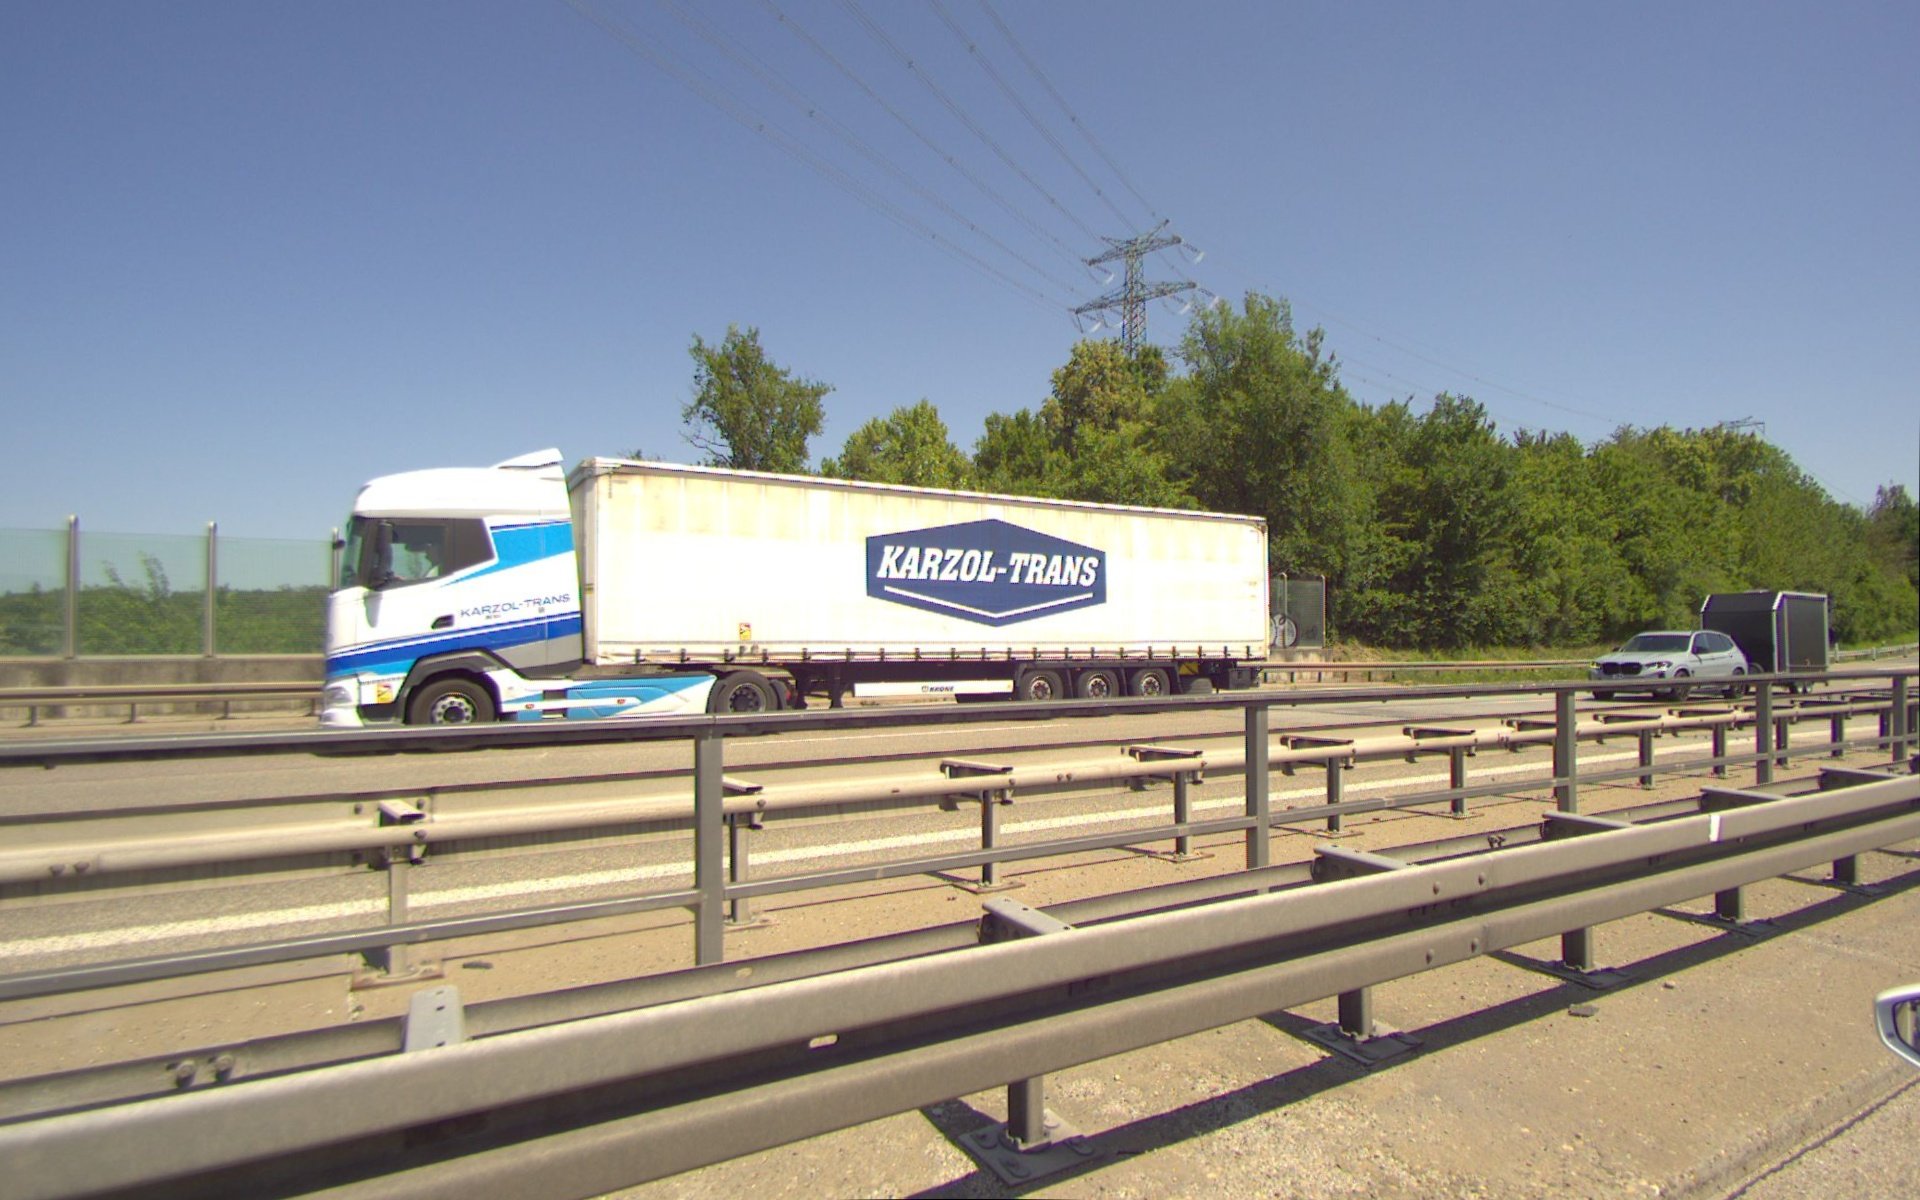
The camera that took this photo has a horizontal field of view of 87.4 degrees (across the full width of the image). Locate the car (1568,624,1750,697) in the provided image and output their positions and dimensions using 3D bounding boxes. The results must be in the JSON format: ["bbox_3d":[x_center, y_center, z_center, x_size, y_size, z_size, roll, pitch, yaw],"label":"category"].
[{"bbox_3d":[17.053,1.475,24.461,4.575,1.646,1.862,2,-4,-30],"label":"car"}]

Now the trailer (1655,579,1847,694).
[{"bbox_3d":[21.250,1.045,26.944,5.314,2.813,2.156,2,-4,-30],"label":"trailer"}]

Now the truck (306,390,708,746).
[{"bbox_3d":[-6.751,-0.273,15.065,4.803,4.284,3.986,2,-2,-31],"label":"truck"}]

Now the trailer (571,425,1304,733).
[{"bbox_3d":[0.241,-0.016,19.228,13.876,4.290,3.970,2,-3,-31],"label":"trailer"}]
